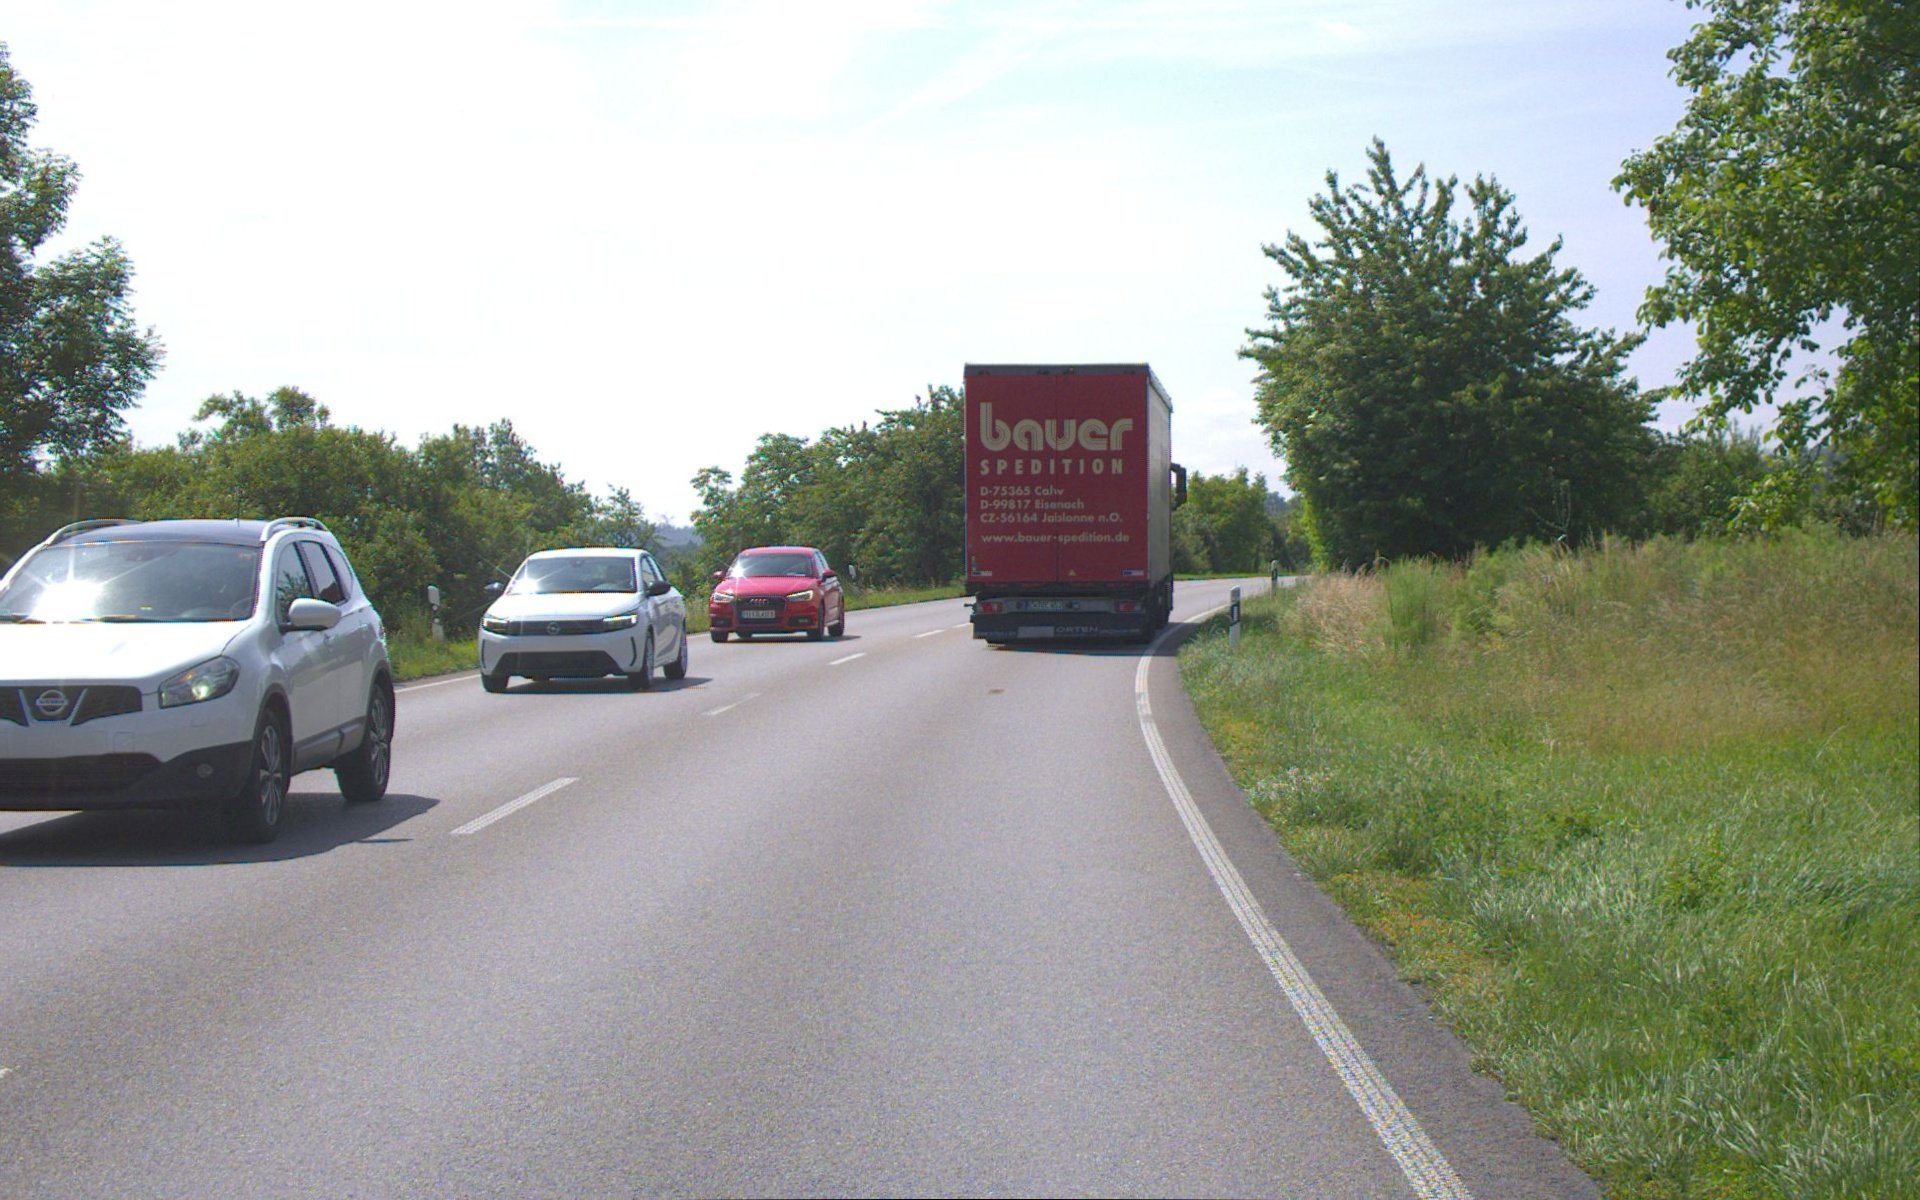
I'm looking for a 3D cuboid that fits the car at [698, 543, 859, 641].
[{"bbox_3d":[-2.758,-0.149,53.169,1.821,1.393,4.182,-1,1,6],"label":"car"}]

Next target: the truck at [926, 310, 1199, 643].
[{"bbox_3d":[1.811,-1.705,52.808,3.113,4.490,12.164,1,0,7],"label":"truck"}]

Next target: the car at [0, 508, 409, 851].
[{"bbox_3d":[-4.297,0.323,18.494,1.833,1.611,4.362,0,2,2],"label":"car"}]

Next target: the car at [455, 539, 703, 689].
[{"bbox_3d":[-3.911,0.109,35.894,1.751,1.409,3.772,-1,1,7],"label":"car"}]
